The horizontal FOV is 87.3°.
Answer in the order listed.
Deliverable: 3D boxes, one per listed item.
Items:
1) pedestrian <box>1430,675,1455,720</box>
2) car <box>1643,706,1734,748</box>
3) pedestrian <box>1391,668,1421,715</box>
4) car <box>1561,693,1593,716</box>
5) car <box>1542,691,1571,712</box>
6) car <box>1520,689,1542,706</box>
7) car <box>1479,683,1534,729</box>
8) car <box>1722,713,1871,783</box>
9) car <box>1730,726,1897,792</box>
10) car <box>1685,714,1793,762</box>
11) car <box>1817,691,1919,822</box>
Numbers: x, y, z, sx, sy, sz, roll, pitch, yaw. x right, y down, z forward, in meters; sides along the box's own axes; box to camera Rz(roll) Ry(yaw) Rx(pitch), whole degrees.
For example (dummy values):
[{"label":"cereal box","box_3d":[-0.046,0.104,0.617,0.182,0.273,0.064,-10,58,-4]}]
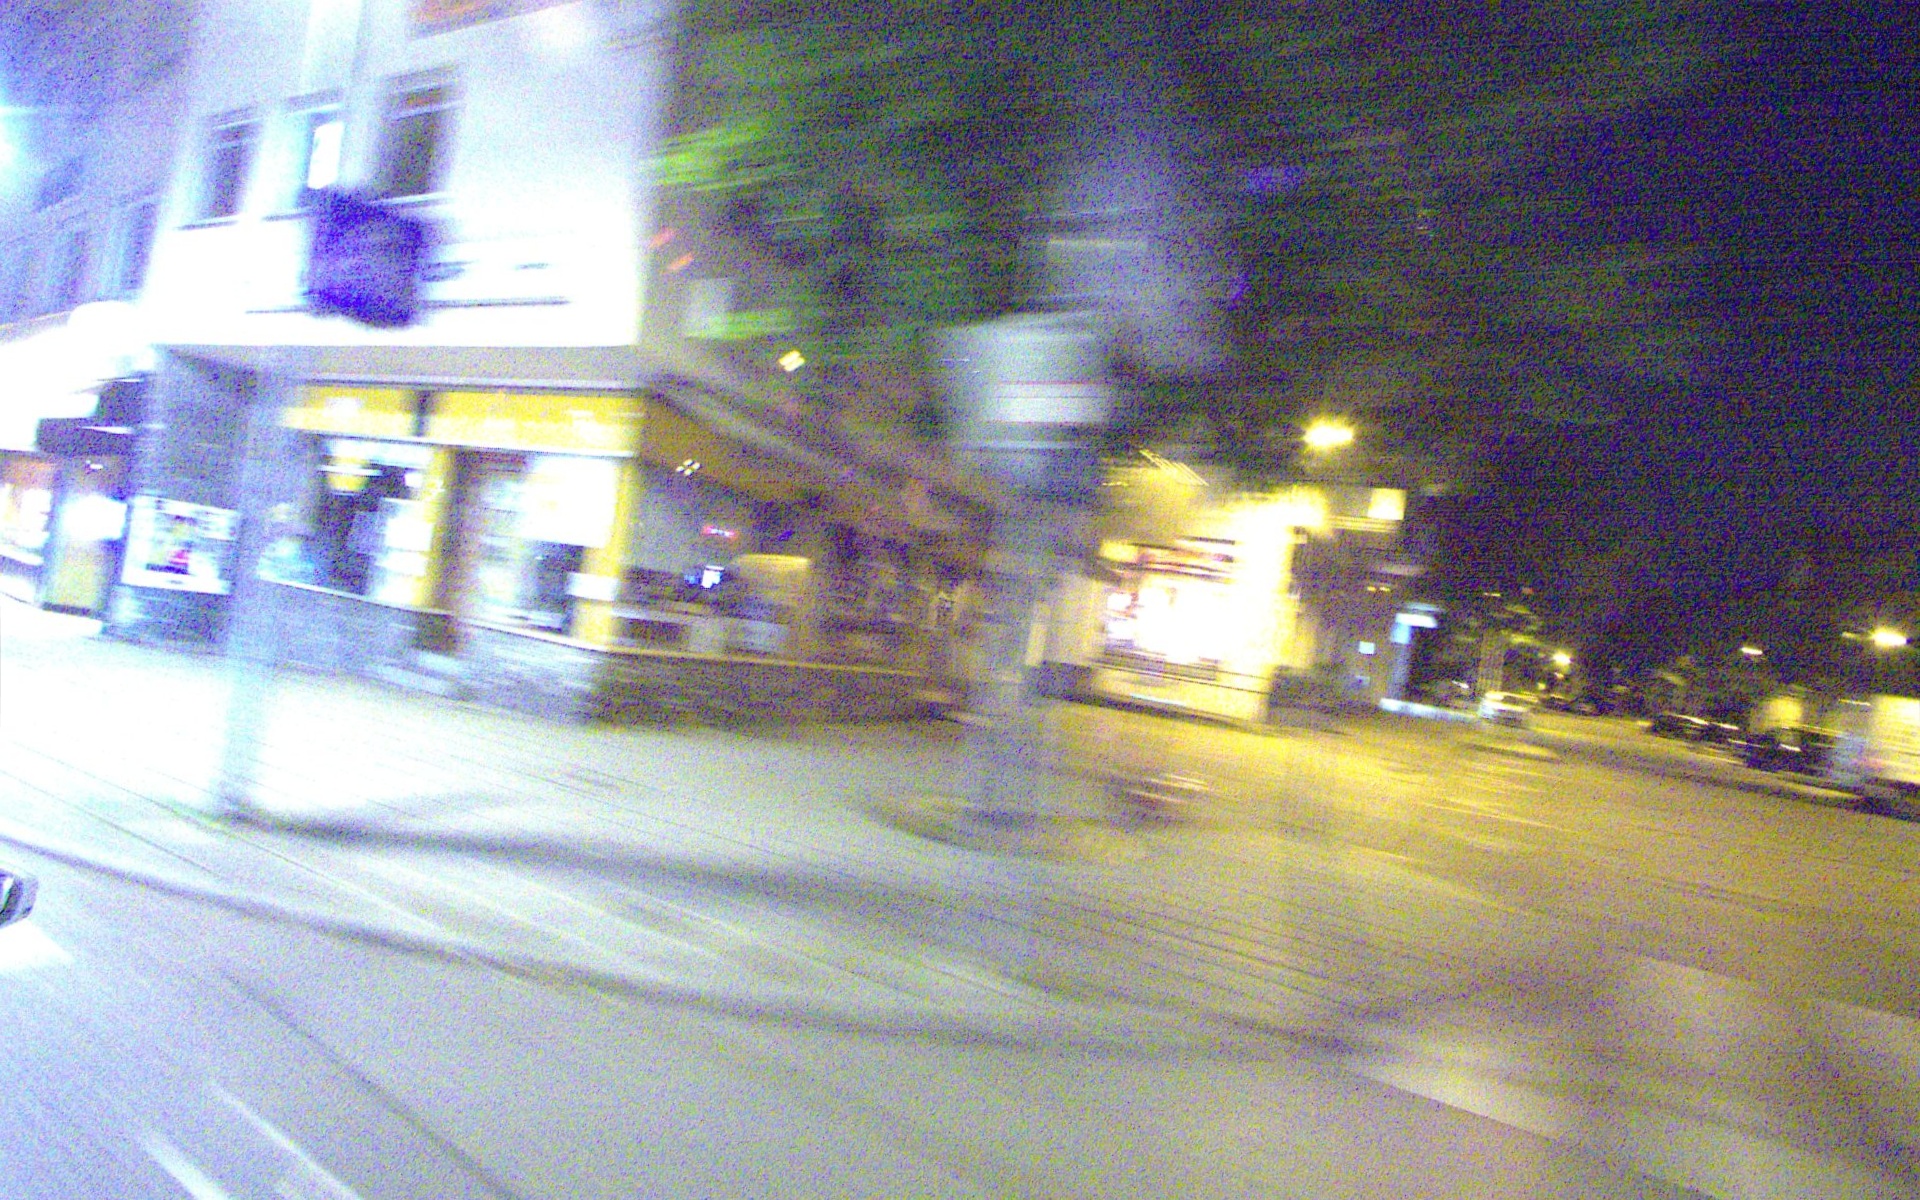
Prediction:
[{"label":"pedestrian","box_3d":[18.779,3.796,39.158,0.703,1.666,0.613,6,-1,27]},{"label":"car","box_3d":[44.970,7.819,62.218,4.141,1.714,1.997,9,1,30]},{"label":"pedestrian","box_3d":[17.229,3.540,38.846,0.847,1.666,0.789,6,-1,28]},{"label":"car","box_3d":[58.260,9.870,95.057,1.911,1.714,4.210,9,0,26]},{"label":"car","box_3d":[62.628,10.659,105.694,1.842,1.714,4.212,9,0,22]},{"label":"car","box_3d":[69.313,11.844,122.174,1.805,1.747,4.001,6,-2,24]},{"label":"car","box_3d":[25.313,4.871,46.672,1.965,1.714,4.208,9,0,28]},{"label":"car","box_3d":[33.516,5.887,40.486,4.143,1.889,1.996,9,1,32]},{"label":"car","box_3d":[32.182,5.970,38.127,4.412,1.449,1.996,9,1,32]},{"label":"car","box_3d":[41.105,7.272,53.229,4.143,1.647,1.877,9,1,33]},{"label":"car","box_3d":[22.507,3.762,21.758,5.404,2.620,2.000,9,0,23]}]
